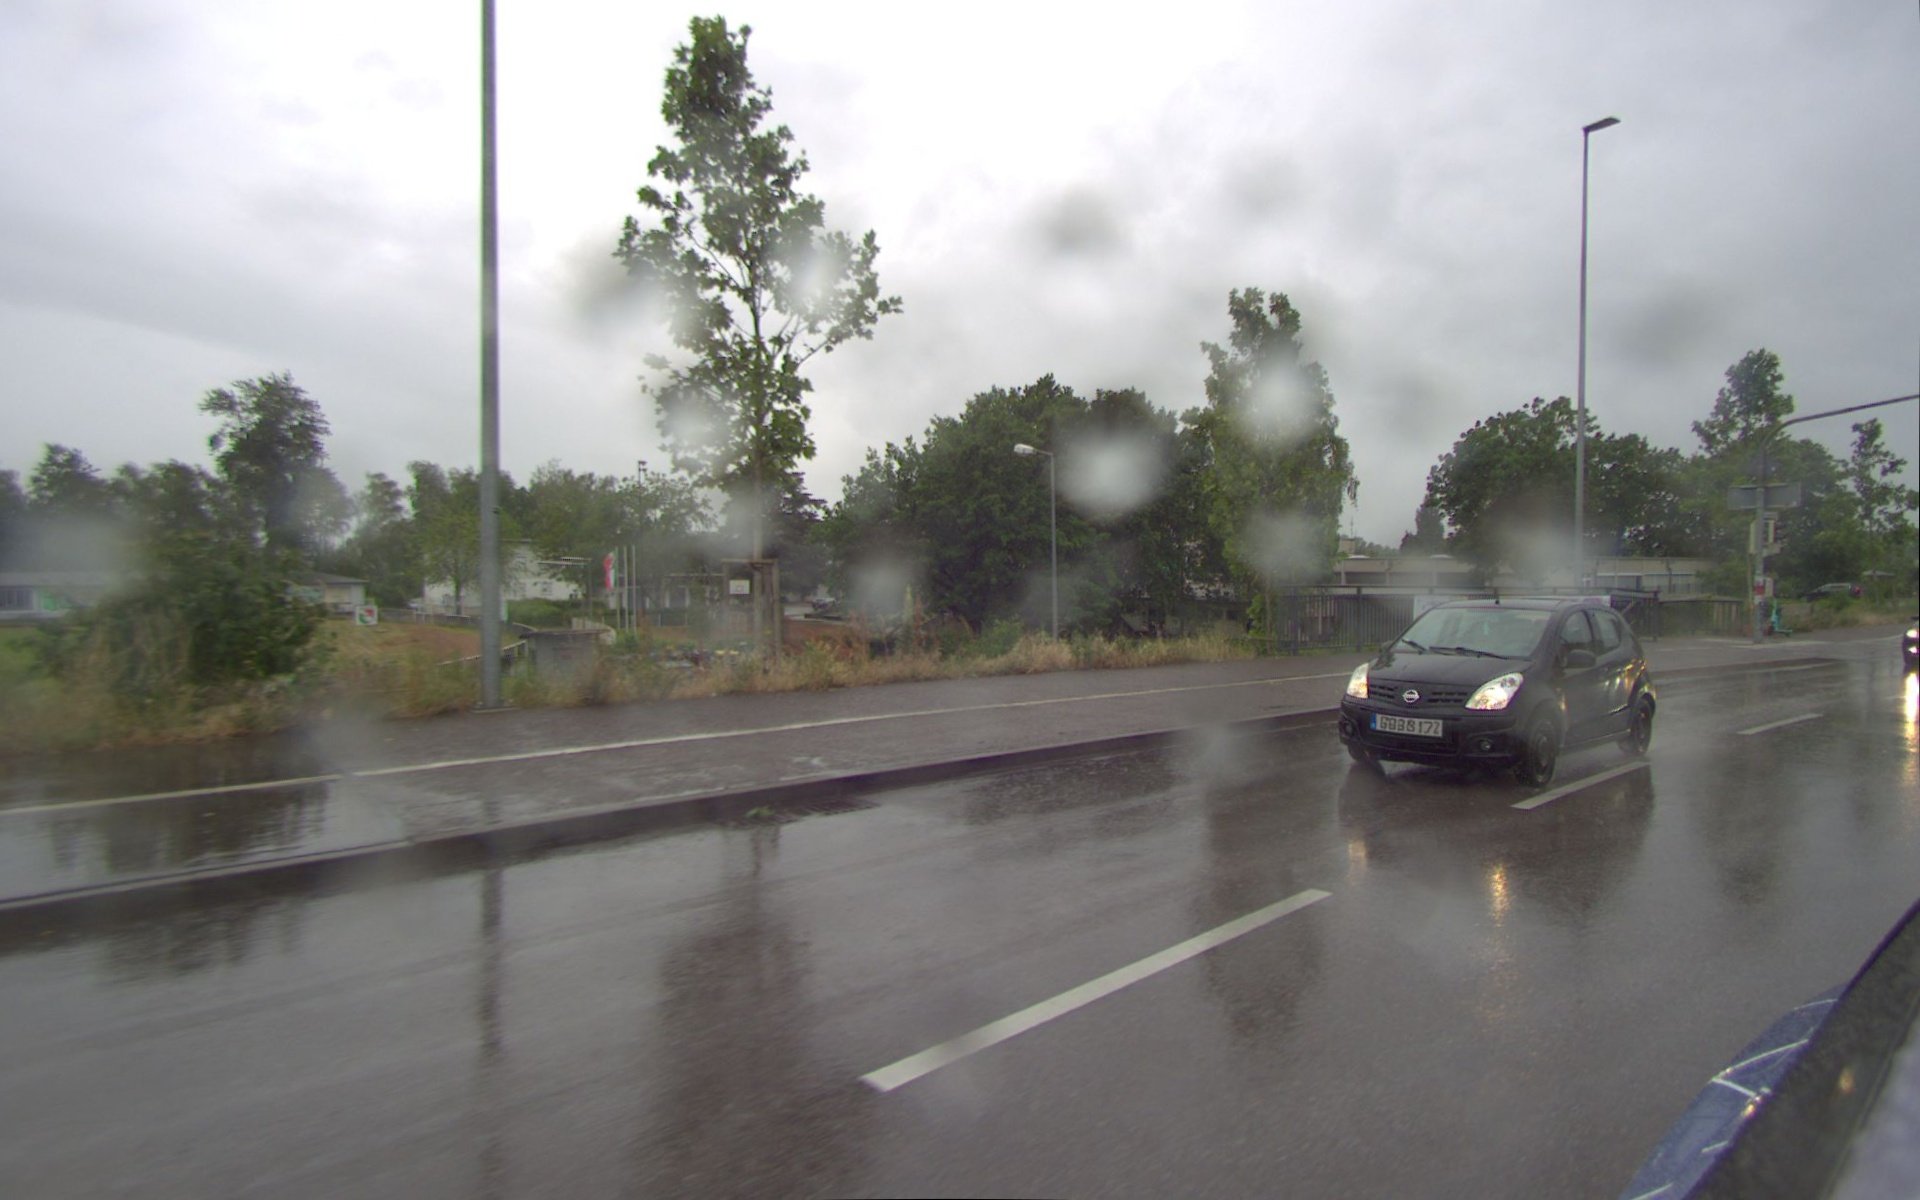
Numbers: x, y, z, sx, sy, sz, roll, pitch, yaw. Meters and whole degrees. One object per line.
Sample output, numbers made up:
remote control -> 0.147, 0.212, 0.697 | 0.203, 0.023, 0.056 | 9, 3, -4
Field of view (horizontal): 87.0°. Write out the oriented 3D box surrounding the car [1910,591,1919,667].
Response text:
car -> 21.152, 0.580, 20.579 | 3.963, 1.503, 1.718 | 0, 0, -32

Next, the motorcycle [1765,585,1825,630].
motorcycle -> 23.704, 0.217, 28.736 | 1.417, 1.233, 0.635 | 0, 2, -20

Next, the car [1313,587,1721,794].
car -> 5.153, 0.656, 9.181 | 4.016, 1.480, 1.776 | 0, 0, -37
